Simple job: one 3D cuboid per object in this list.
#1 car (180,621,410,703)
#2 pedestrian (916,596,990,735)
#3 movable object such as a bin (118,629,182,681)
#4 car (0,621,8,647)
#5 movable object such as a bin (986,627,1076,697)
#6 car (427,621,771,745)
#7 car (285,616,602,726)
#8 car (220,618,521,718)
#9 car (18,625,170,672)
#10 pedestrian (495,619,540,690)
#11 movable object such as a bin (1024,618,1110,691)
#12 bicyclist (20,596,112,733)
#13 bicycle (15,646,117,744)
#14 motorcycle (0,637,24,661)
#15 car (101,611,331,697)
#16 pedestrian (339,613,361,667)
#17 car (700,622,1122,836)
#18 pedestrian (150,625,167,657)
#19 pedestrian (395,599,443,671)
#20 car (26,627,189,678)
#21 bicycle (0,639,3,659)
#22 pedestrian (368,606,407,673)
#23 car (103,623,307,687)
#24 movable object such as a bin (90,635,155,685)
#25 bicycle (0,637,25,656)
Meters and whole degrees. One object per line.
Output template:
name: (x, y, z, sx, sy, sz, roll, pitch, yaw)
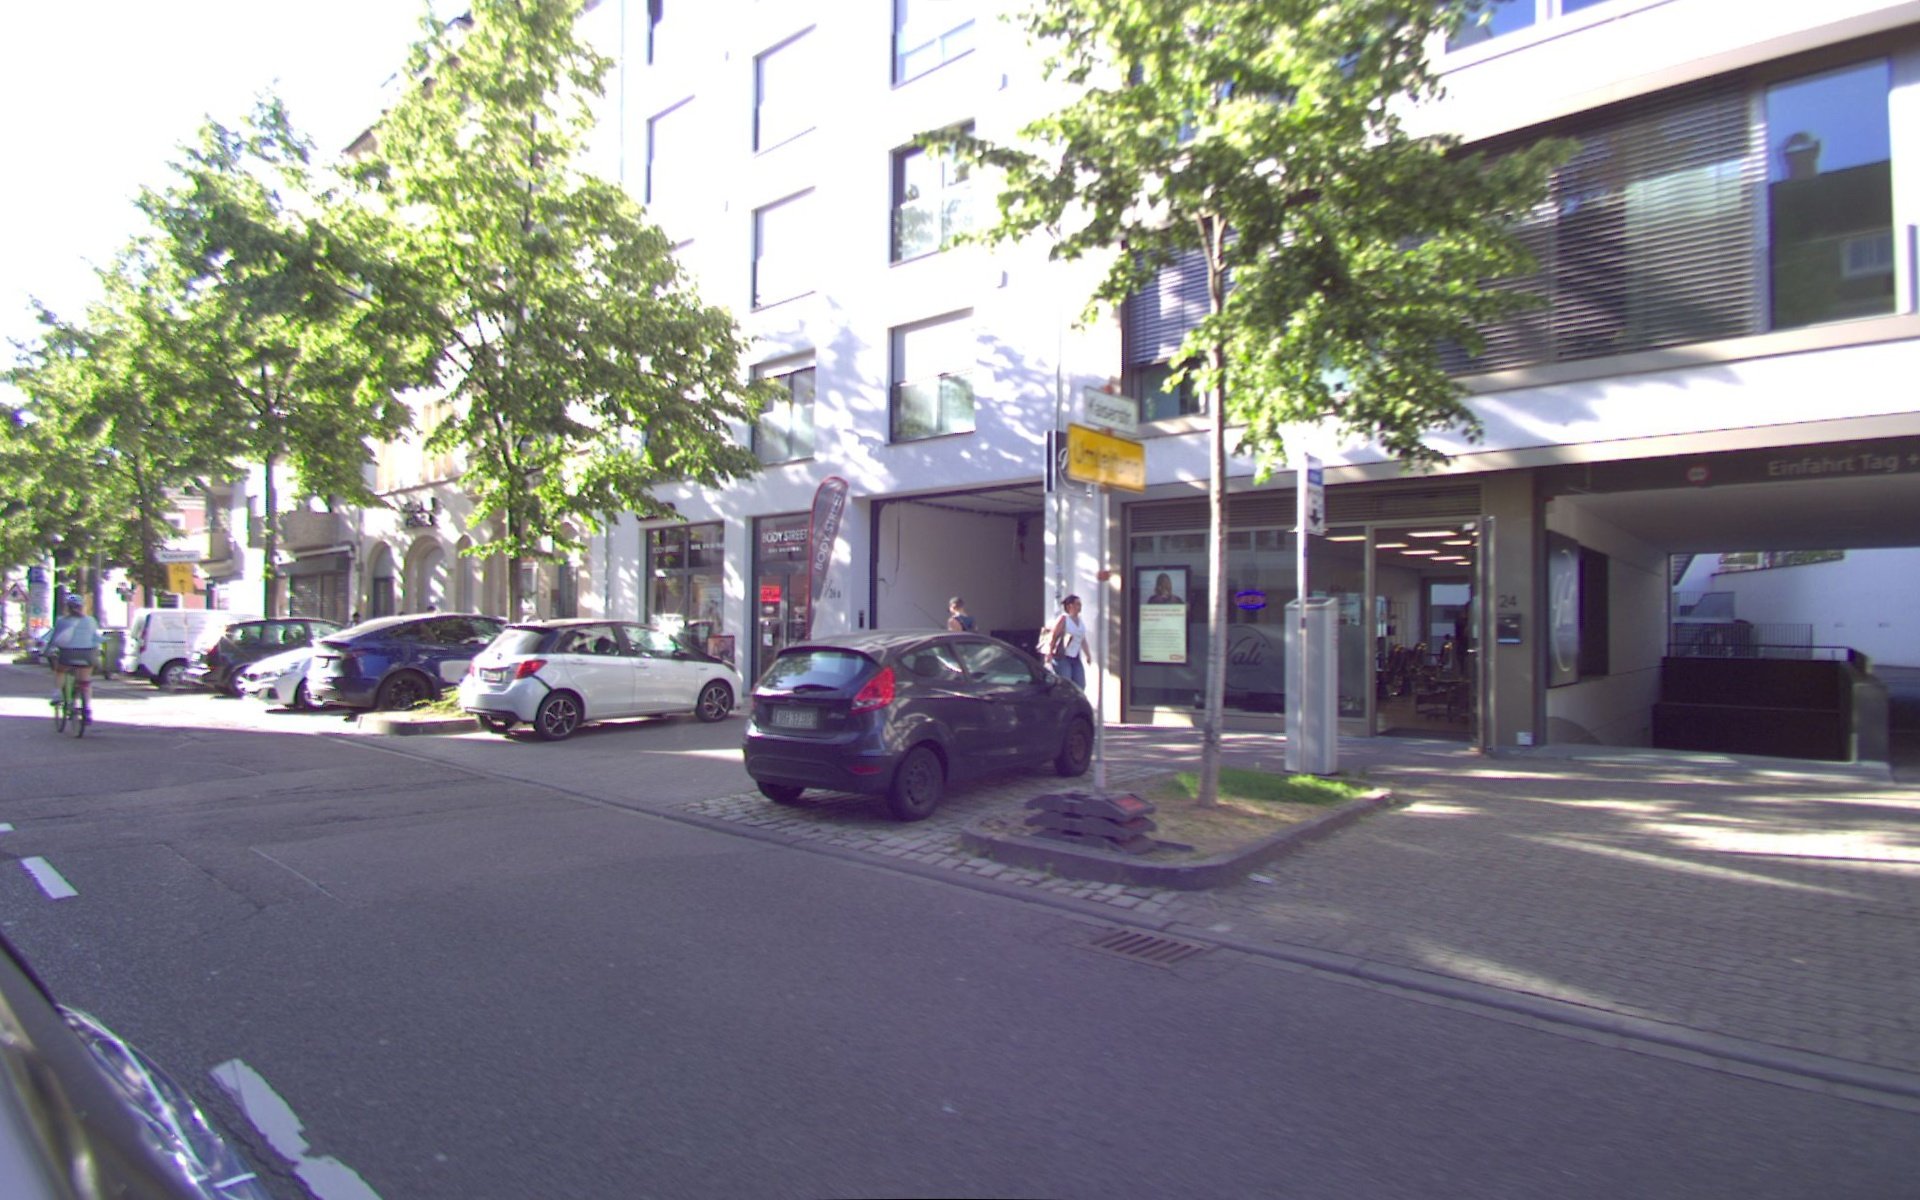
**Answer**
car: (-14.079, 1.245, 21.557, 1.791, 1.570, 3.760, -2, -2, 41)
pedestrian: (-0.104, 0.871, 13.773, 0.690, 1.811, 0.747, 1, -2, -38)
movable object such as a bin: (-21.857, 1.474, 27.320, 0.931, 1.355, 1.180, -1, -2, 40)
car: (-64.131, 2.200, 65.018, 1.998, 1.693, 4.083, -1, -2, 39)
movable object such as a bin: (1.436, 1.220, 20.292, 1.104, 1.317, 1.533, -2, -2, 40)
car: (-4.903, 1.037, 14.269, 1.977, 1.470, 4.206, -1, -2, 37)
car: (-8.487, 1.083, 16.940, 1.979, 1.582, 4.321, -2, -2, 41)
car: (-10.527, 1.126, 18.321, 1.945, 1.582, 4.321, -2, -2, 41)
car: (-31.292, 1.707, 36.645, 1.747, 1.475, 3.957, 1, 1, 40)
pedestrian: (-9.813, 1.193, 22.425, 0.842, 1.505, 0.586, -2, 0, 42)
movable object such as a bin: (2.260, 1.123, 21.269, 1.104, 1.452, 1.533, -2, -2, 40)
bicyclist: (-11.786, 0.828, 13.335, 1.282, 1.713, 0.717, -2, -3, 41)
bicycle: (-11.814, 1.204, 13.349, 2.196, 1.178, 0.717, -2, -2, 41)
motorcycle: (-48.974, 2.479, 51.430, 0.739, 1.194, 1.978, -2, -1, 40)
car: (-17.578, 1.197, 24.043, 2.037, 1.850, 4.063, -2, -2, 41)
pedestrian: (-19.119, 1.251, 31.731, 0.639, 1.684, 0.429, -1, -2, 43)
car: (-0.241, 0.935, 9.019, 1.778, 1.470, 3.744, -2, -2, 37)
pedestrian: (-44.383, 2.285, 56.039, 0.579, 1.740, 0.622, -2, -3, 38)
pedestrian: (-14.053, 0.897, 26.286, 0.762, 1.779, 0.767, -1, 2, 39)
car: (-27.224, 1.645, 32.416, 1.707, 1.475, 3.742, -2, -1, 38)
bicycle: (-49.957, 2.514, 51.356, 0.471, 1.037, 1.987, -1, 0, 27)
pedestrian: (-14.516, 0.985, 25.656, 0.726, 1.638, 0.560, -1, 2, 39)
car: (-19.419, 1.356, 26.152, 1.886, 1.475, 3.938, -2, -1, 41)
movable object such as a bin: (-22.896, 1.631, 27.676, 0.869, 1.312, 1.225, -1, -2, 40)
bicycle: (-50.075, 2.452, 53.137, 1.493, 0.958, 0.360, -1, -1, -8)
